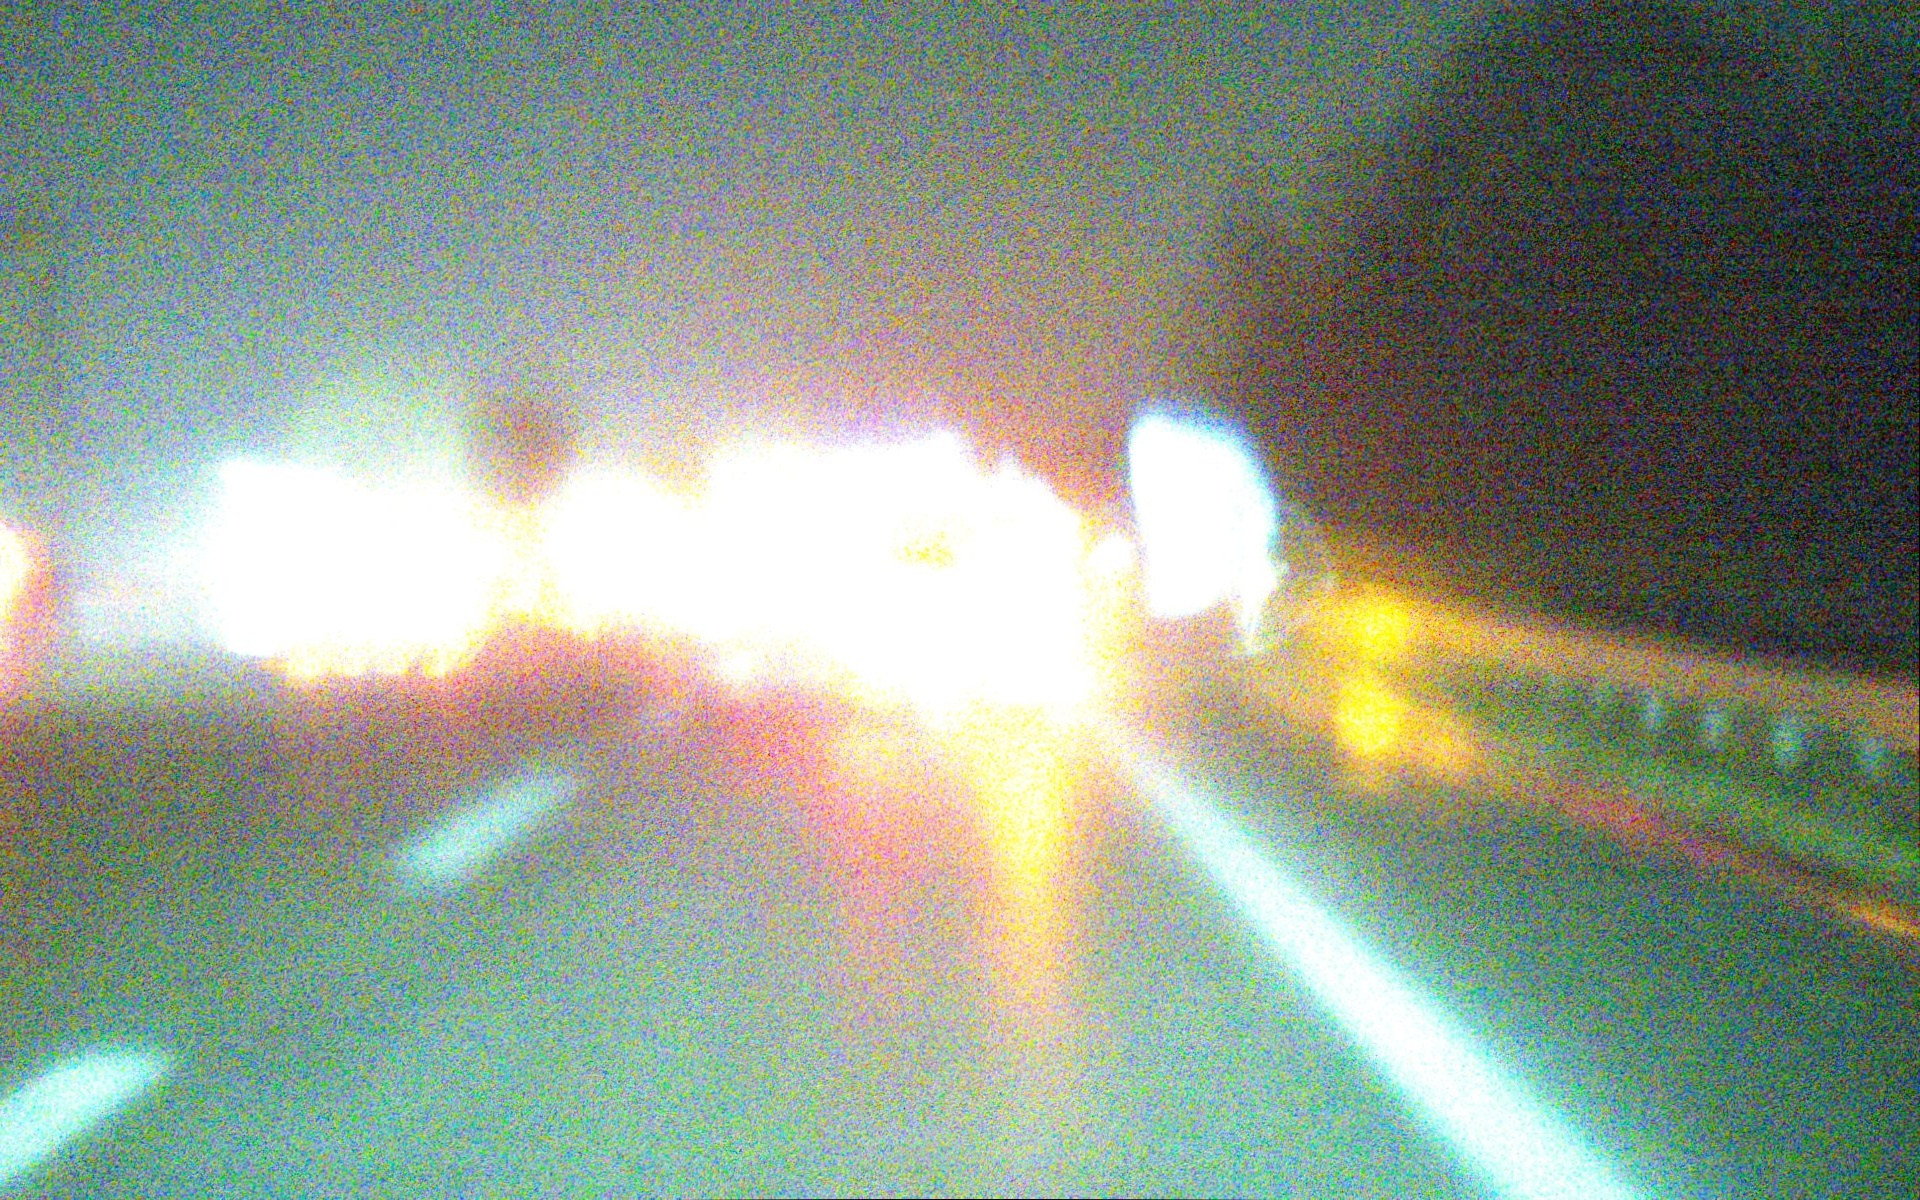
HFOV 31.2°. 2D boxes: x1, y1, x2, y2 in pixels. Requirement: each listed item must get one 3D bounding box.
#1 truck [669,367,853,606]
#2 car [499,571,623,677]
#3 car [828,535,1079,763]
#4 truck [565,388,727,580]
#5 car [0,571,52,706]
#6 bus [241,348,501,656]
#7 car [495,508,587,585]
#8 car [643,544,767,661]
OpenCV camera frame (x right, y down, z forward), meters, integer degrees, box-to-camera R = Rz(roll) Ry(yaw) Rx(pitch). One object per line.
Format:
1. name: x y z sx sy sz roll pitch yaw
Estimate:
1. truck: -4.908 -2.743 87.403 4.210 5.629 11.468 1 0 -1
2. car: -7.131 0.397 61.749 1.993 1.801 4.001 1 0 -4
3. car: -0.081 0.380 29.682 1.993 1.801 4.000 1 0 -1
4. truck: -9.701 -3.485 107.611 4.210 5.629 11.468 1 0 -1
5. car: -12.774 0.458 43.750 1.694 1.645 3.841 1 0 -5
6. bus: -9.436 -1.496 56.285 3.096 4.492 10.915 1 0 -4
7. car: -10.168 -1.295 83.699 1.993 1.801 4.001 1 0 -4
8. car: -4.584 0.024 62.470 2.125 2.007 4.646 1 0 -3
